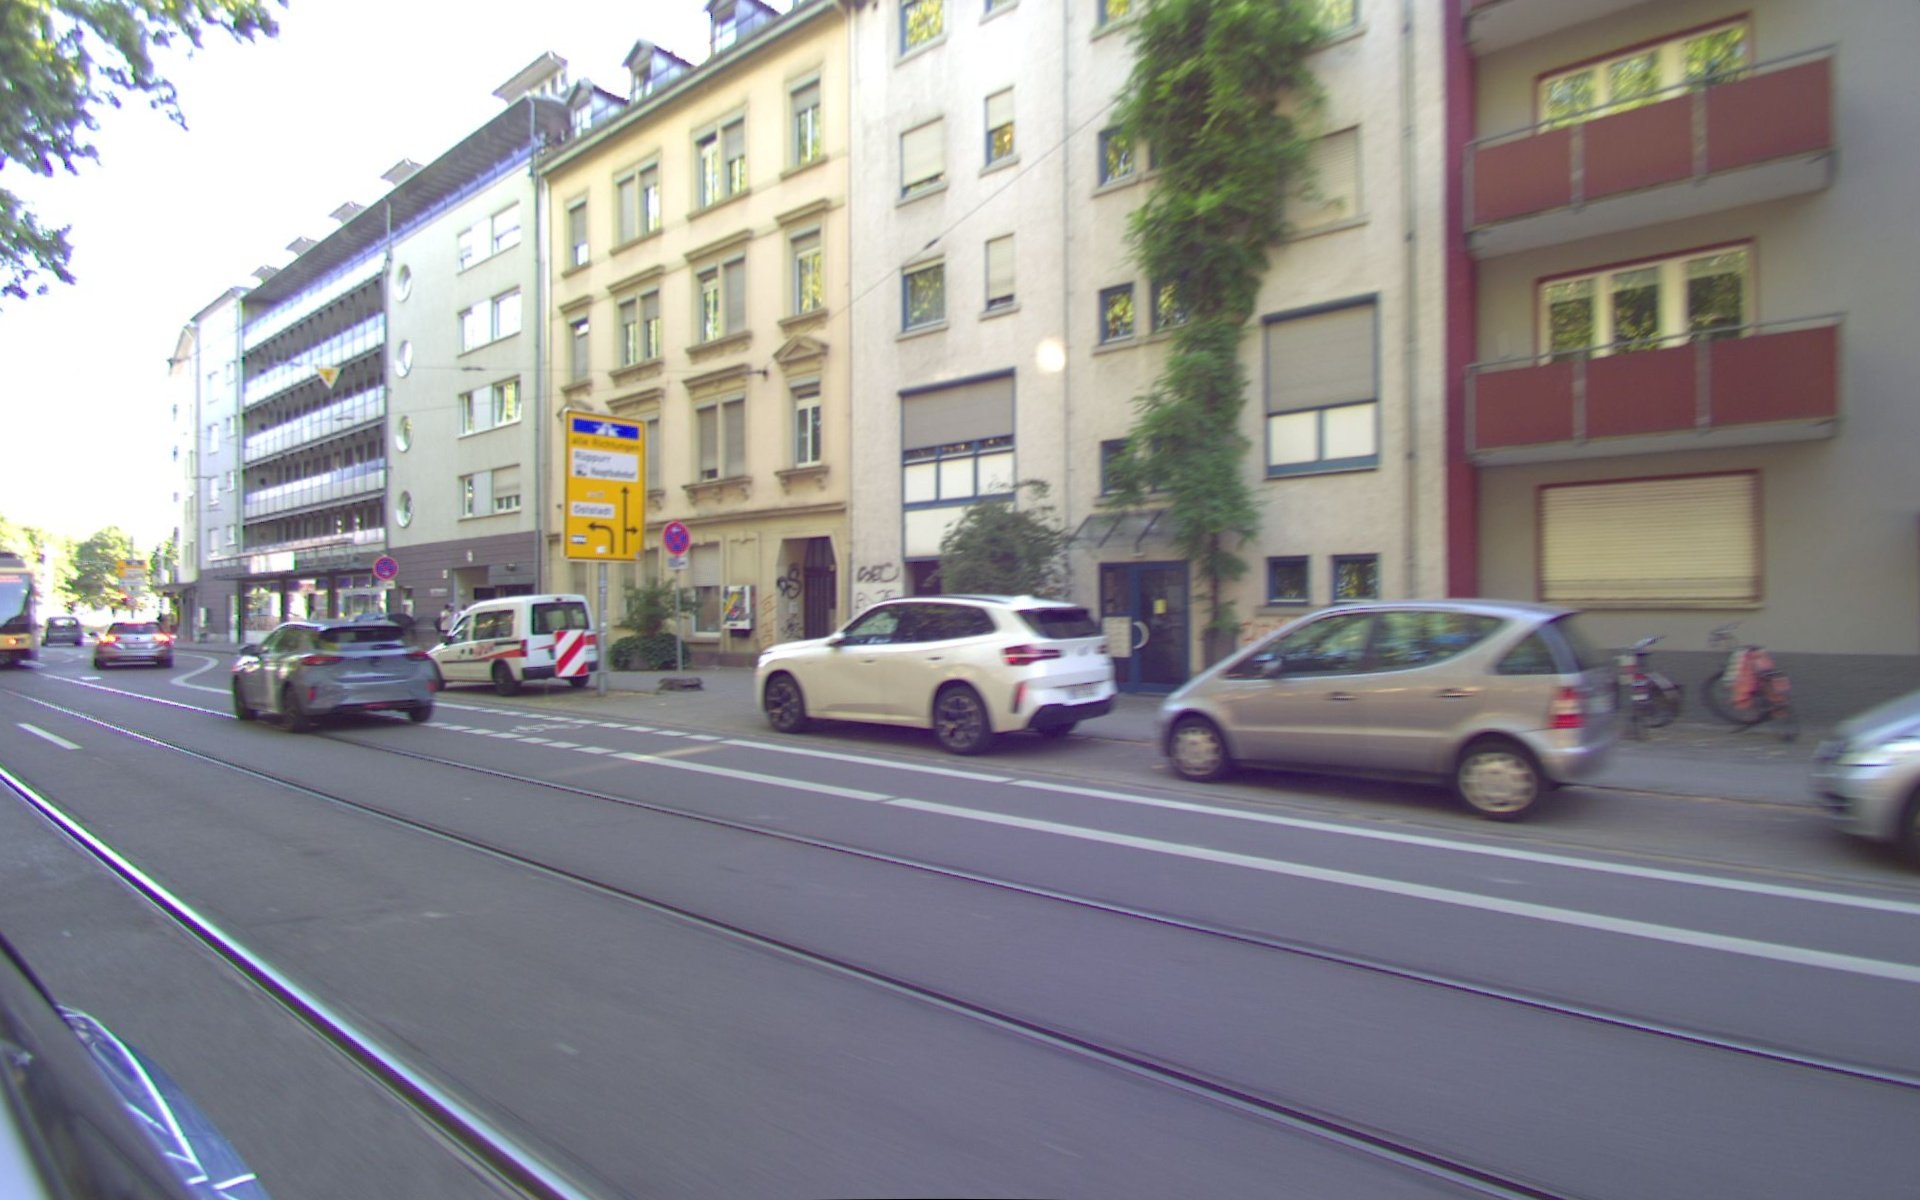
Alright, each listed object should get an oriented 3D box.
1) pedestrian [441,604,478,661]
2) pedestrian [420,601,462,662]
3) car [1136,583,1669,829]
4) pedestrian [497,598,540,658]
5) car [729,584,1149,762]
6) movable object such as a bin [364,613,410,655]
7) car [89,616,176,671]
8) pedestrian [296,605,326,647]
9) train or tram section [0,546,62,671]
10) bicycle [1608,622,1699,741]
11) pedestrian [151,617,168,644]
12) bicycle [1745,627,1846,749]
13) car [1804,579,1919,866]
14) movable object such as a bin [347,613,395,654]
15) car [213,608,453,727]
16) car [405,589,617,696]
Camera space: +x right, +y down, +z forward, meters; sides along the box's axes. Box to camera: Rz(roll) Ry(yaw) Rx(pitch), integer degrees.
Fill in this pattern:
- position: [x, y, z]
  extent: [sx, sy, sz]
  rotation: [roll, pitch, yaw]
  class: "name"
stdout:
- position: [-14.844, 0.963, 30.037]
  extent: [0.686, 1.645, 0.720]
  rotation: [-1, 1, 39]
  class: "pedestrian"
- position: [-15.870, 0.955, 30.960]
  extent: [0.735, 1.798, 0.856]
  rotation: [-1, 1, 39]
  class: "pedestrian"
- position: [3.542, 0.690, 8.485]
  extent: [3.780, 1.583, 1.609]
  rotation: [0, 1, 42]
  class: "car"
- position: [-13.817, 0.857, 31.668]
  extent: [0.729, 1.827, 0.953]
  rotation: [-1, 1, 41]
  class: "pedestrian"
- position: [-0.415, 0.698, 11.951]
  extent: [4.877, 1.661, 1.933]
  rotation: [0, 1, 40]
  class: "car"
- position: [-20.532, 1.202, 36.287]
  extent: [1.209, 1.461, 1.047]
  rotation: [-1, -1, 37]
  class: "movable object such as a bin"
- position: [-25.256, 1.269, 30.817]
  extent: [1.774, 1.457, 4.722]
  rotation: [1, 0, -43]
  class: "car"
- position: [-27.626, 1.109, 43.057]
  extent: [0.819, 1.726, 0.779]
  rotation: [-1, 2, 40]
  class: "pedestrian"
- position: [-32.403, 0.334, 32.939]
  extent: [14.189, 3.512, 2.879]
  rotation: [-1, -1, 41]
  class: "train or tram section"
- position: [7.731, 0.835, 11.234]
  extent: [0.698, 1.070, 2.428]
  rotation: [-1, 1, 37]
  class: "bicycle"
- position: [-50.929, 1.931, 64.373]
  extent: [0.705, 1.686, 0.907]
  rotation: [0, -1, -30]
  class: "pedestrian"
- position: [8.599, 0.843, 10.478]
  extent: [0.698, 1.000, 2.268]
  rotation: [-1, 1, 37]
  class: "bicycle"
- position: [7.148, 0.654, 5.380]
  extent: [4.000, 1.599, 1.802]
  rotation: [-1, 0, 39]
  class: "car"
- position: [-21.528, 1.220, 37.013]
  extent: [1.212, 1.461, 1.129]
  rotation: [-1, -1, 37]
  class: "movable object such as a bin"
- position: [-8.966, 0.872, 14.345]
  extent: [4.050, 1.457, 1.777]
  rotation: [-1, -2, 41]
  class: "car"
- position: [-8.637, 0.760, 19.323]
  extent: [4.464, 1.784, 1.772]
  rotation: [-1, 1, 38]
  class: "car"
